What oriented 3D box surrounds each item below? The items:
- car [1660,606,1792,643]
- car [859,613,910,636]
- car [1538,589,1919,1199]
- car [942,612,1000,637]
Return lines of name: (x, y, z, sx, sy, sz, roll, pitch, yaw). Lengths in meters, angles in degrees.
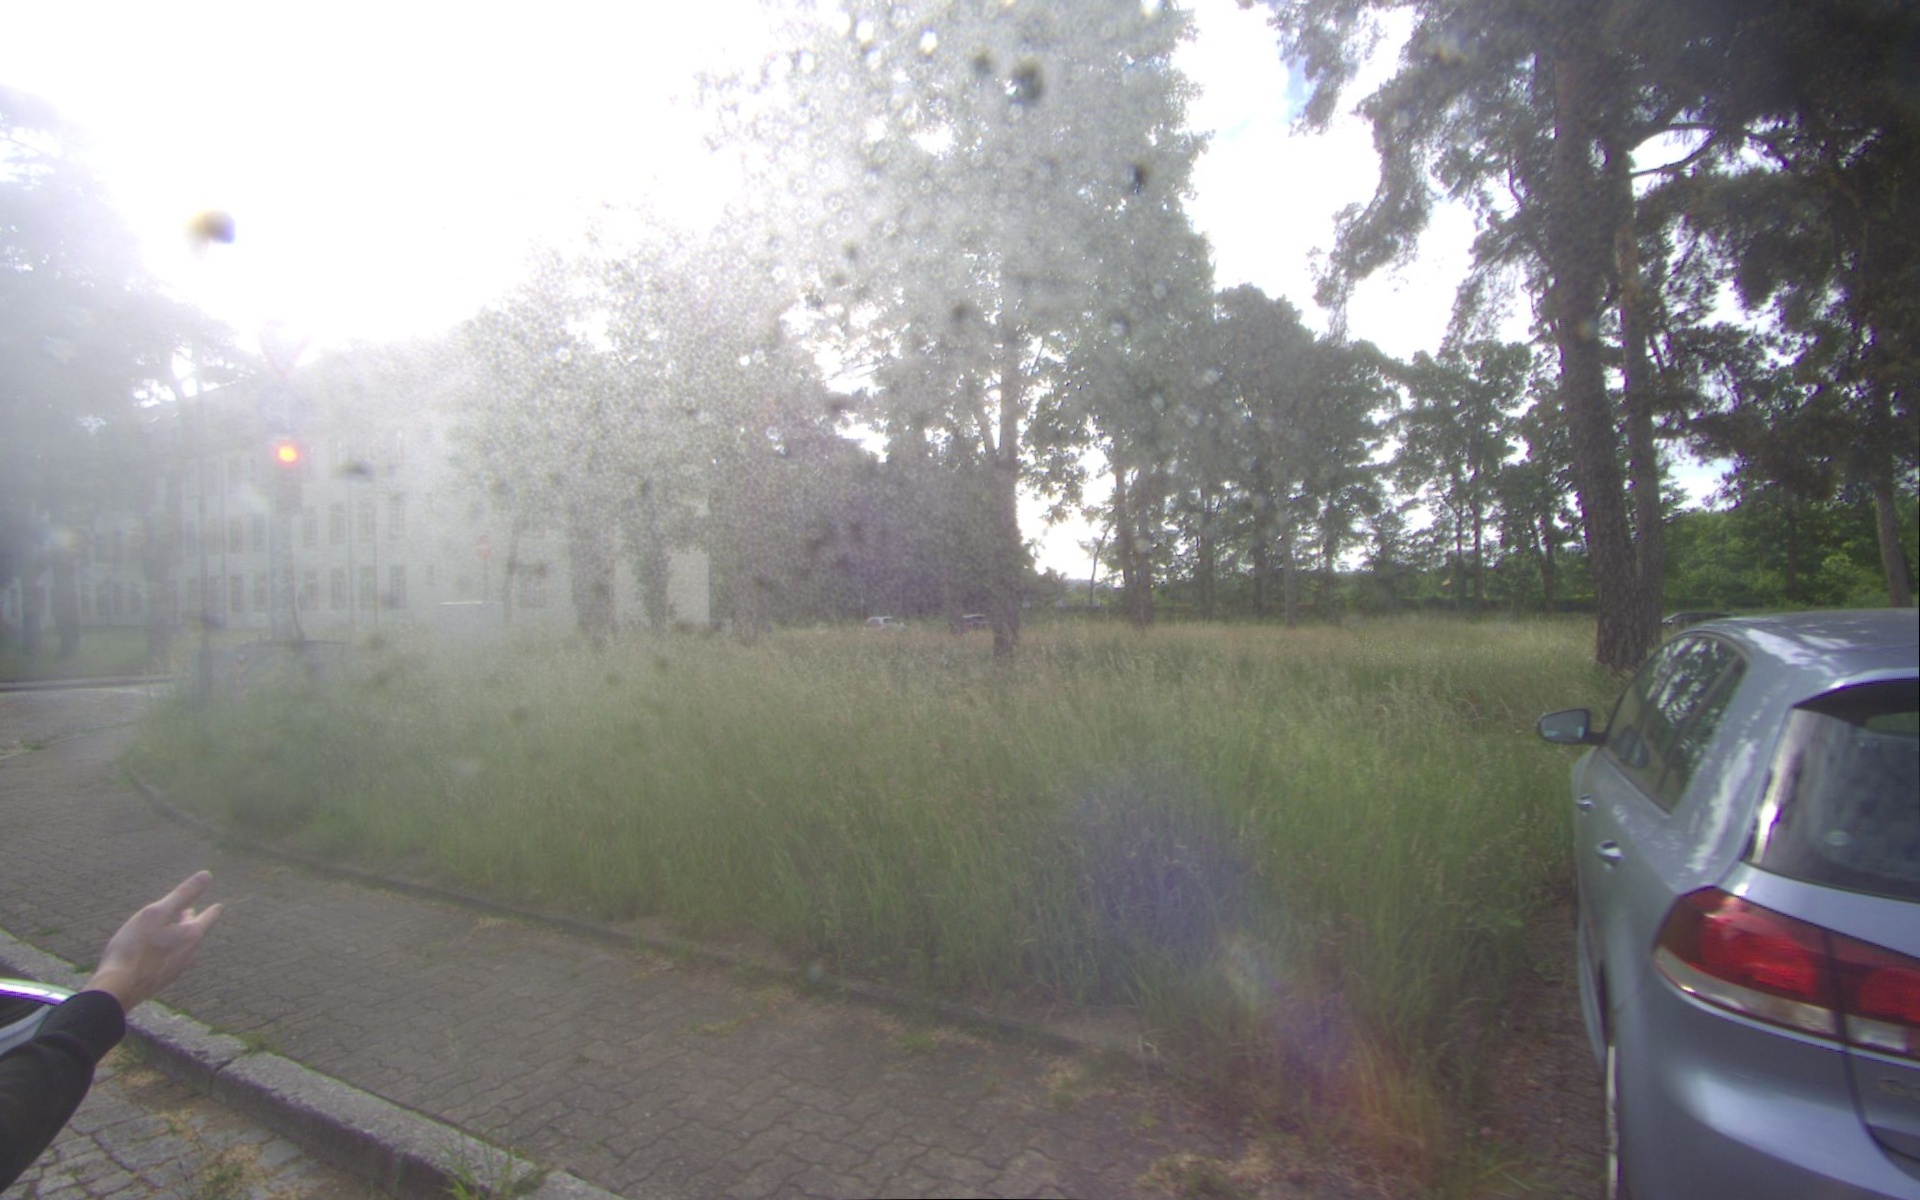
car: (33.837, 1.072, 44.401, 4.384, 1.607, 1.991, -1, 0, 31)
car: (-5.238, 1.697, 69.866, 1.748, 1.553, 3.674, -1, -1, 33)
car: (2.849, 0.705, 2.986, 1.771, 1.437, 3.978, -1, 0, 33)
car: (0.757, 1.560, 65.239, 1.972, 1.553, 3.978, -1, -1, 33)
